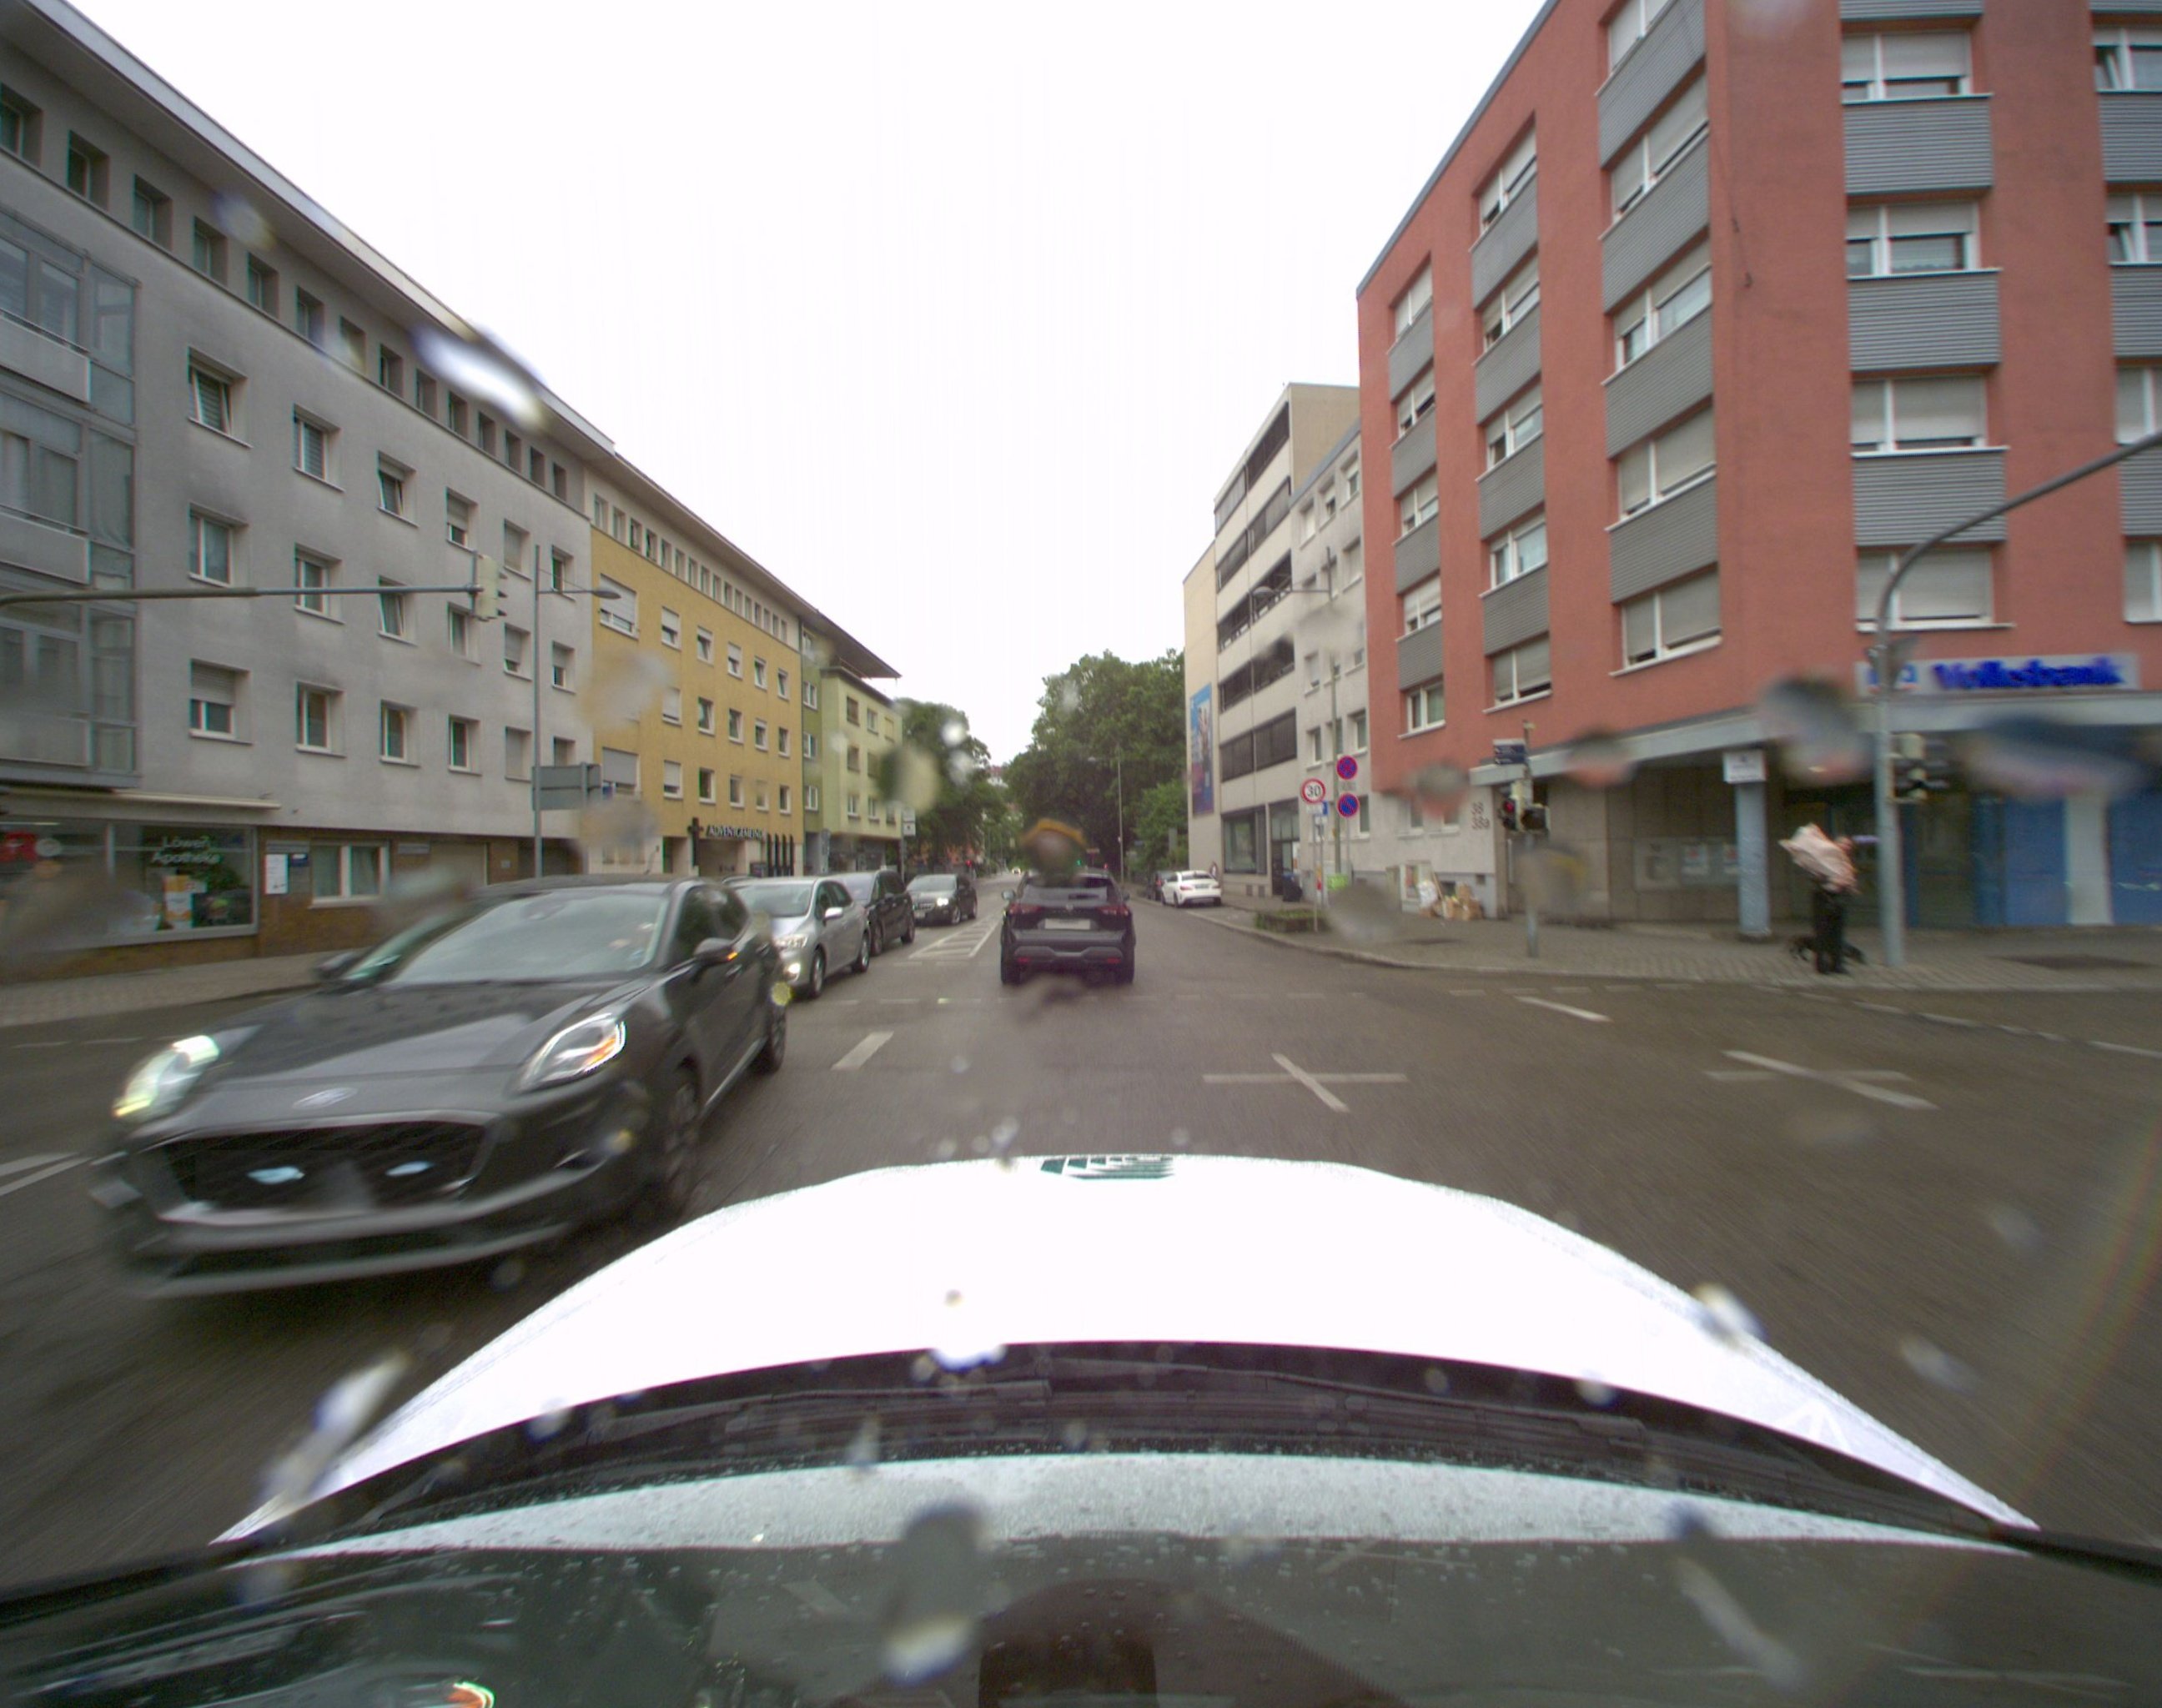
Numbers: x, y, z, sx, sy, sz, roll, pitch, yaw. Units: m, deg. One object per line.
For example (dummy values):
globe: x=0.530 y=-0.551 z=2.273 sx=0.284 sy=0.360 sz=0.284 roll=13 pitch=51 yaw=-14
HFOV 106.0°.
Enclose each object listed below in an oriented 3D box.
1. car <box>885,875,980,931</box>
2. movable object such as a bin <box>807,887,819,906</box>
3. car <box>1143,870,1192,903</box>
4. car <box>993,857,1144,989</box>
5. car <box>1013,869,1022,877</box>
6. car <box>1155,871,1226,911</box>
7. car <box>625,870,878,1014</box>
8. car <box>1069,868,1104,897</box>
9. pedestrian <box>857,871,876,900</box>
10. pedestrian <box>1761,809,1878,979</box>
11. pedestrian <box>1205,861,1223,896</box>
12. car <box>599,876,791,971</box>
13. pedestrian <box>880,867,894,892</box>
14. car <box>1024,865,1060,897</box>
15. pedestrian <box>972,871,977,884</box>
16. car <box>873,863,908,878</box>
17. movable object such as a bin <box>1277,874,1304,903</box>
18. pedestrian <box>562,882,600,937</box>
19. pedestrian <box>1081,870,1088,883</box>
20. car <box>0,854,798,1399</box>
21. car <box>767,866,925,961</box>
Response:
car: x=-4.299 y=1.381 z=24.273 sx=1.814 sy=1.433 sz=4.401 roll=-2 pitch=-1 yaw=2
movable object such as a bin: x=-14.403 y=2.275 z=43.757 sx=0.397 sy=1.006 sz=0.546 roll=-1 pitch=-1 yaw=4
car: x=4.139 y=1.542 z=39.547 sx=1.710 sy=1.442 sz=4.077 roll=-3 pitch=-1 yaw=-3
car: x=-0.276 y=0.945 z=12.342 sx=1.891 sy=1.629 sz=3.994 roll=-1 pitch=-2 yaw=-4
car: x=-14.239 y=4.185 z=181.890 sx=1.816 sy=1.796 sz=3.862 roll=0 pitch=-1 yaw=-2
car: x=4.347 y=1.431 z=33.083 sx=1.772 sy=1.401 sz=4.570 roll=-3 pitch=-1 yaw=-6
car: x=-4.195 y=1.057 z=11.170 sx=1.930 sy=1.527 sz=4.129 roll=-2 pitch=-2 yaw=-3
car: x=0.304 y=1.926 z=55.161 sx=1.943 sy=1.816 sz=3.992 roll=-3 pitch=-2 yaw=-5
pedestrian: x=-13.444 y=1.961 z=51.040 sx=0.862 sy=1.788 sz=0.875 roll=1 pitch=-1 yaw=2
pedestrian: x=9.724 y=0.515 z=10.755 sx=0.822 sy=2.158 sz=0.770 roll=0 pitch=-1 yaw=2
pedestrian: x=6.775 y=1.259 z=41.471 sx=0.612 sy=1.737 sz=0.678 roll=-3 pitch=-2 yaw=-11
car: x=-7.752 y=1.328 z=16.897 sx=1.814 sy=1.640 sz=4.373 roll=-2 pitch=-2 yaw=1
pedestrian: x=-13.145 y=1.734 z=55.192 sx=0.796 sy=1.688 sz=0.816 roll=-1 pitch=-1 yaw=-4
car: x=-2.251 y=1.585 z=48.055 sx=1.941 sy=1.685 sz=3.996 roll=-3 pitch=-2 yaw=-2
pedestrian: x=-15.028 y=3.313 z=114.536 sx=0.666 sy=1.791 sz=0.719 roll=0 pitch=-1 yaw=-10
car: x=-23.032 y=2.014 z=98.615 sx=3.827 sy=1.734 sz=1.876 roll=0 pitch=-1 yaw=-5
movable object such as a bin: x=7.958 y=1.302 z=30.972 sx=0.712 sy=1.068 sz=0.781 roll=-2 pitch=-1 yaw=-10
pedestrian: x=-14.801 y=1.636 z=24.123 sx=0.684 sy=1.581 sz=0.652 roll=1 pitch=-1 yaw=4
pedestrian: x=0.479 y=3.275 z=118.509 sx=0.712 sy=1.791 sz=0.672 roll=-1 pitch=-2 yaw=45
car: x=-2.891 y=0.872 z=4.642 sx=1.857 sy=1.553 sz=4.208 roll=-2 pitch=-2 yaw=-12
car: x=-4.572 y=1.124 z=16.571 sx=1.814 sy=1.608 sz=4.430 roll=-2 pitch=-2 yaw=1
